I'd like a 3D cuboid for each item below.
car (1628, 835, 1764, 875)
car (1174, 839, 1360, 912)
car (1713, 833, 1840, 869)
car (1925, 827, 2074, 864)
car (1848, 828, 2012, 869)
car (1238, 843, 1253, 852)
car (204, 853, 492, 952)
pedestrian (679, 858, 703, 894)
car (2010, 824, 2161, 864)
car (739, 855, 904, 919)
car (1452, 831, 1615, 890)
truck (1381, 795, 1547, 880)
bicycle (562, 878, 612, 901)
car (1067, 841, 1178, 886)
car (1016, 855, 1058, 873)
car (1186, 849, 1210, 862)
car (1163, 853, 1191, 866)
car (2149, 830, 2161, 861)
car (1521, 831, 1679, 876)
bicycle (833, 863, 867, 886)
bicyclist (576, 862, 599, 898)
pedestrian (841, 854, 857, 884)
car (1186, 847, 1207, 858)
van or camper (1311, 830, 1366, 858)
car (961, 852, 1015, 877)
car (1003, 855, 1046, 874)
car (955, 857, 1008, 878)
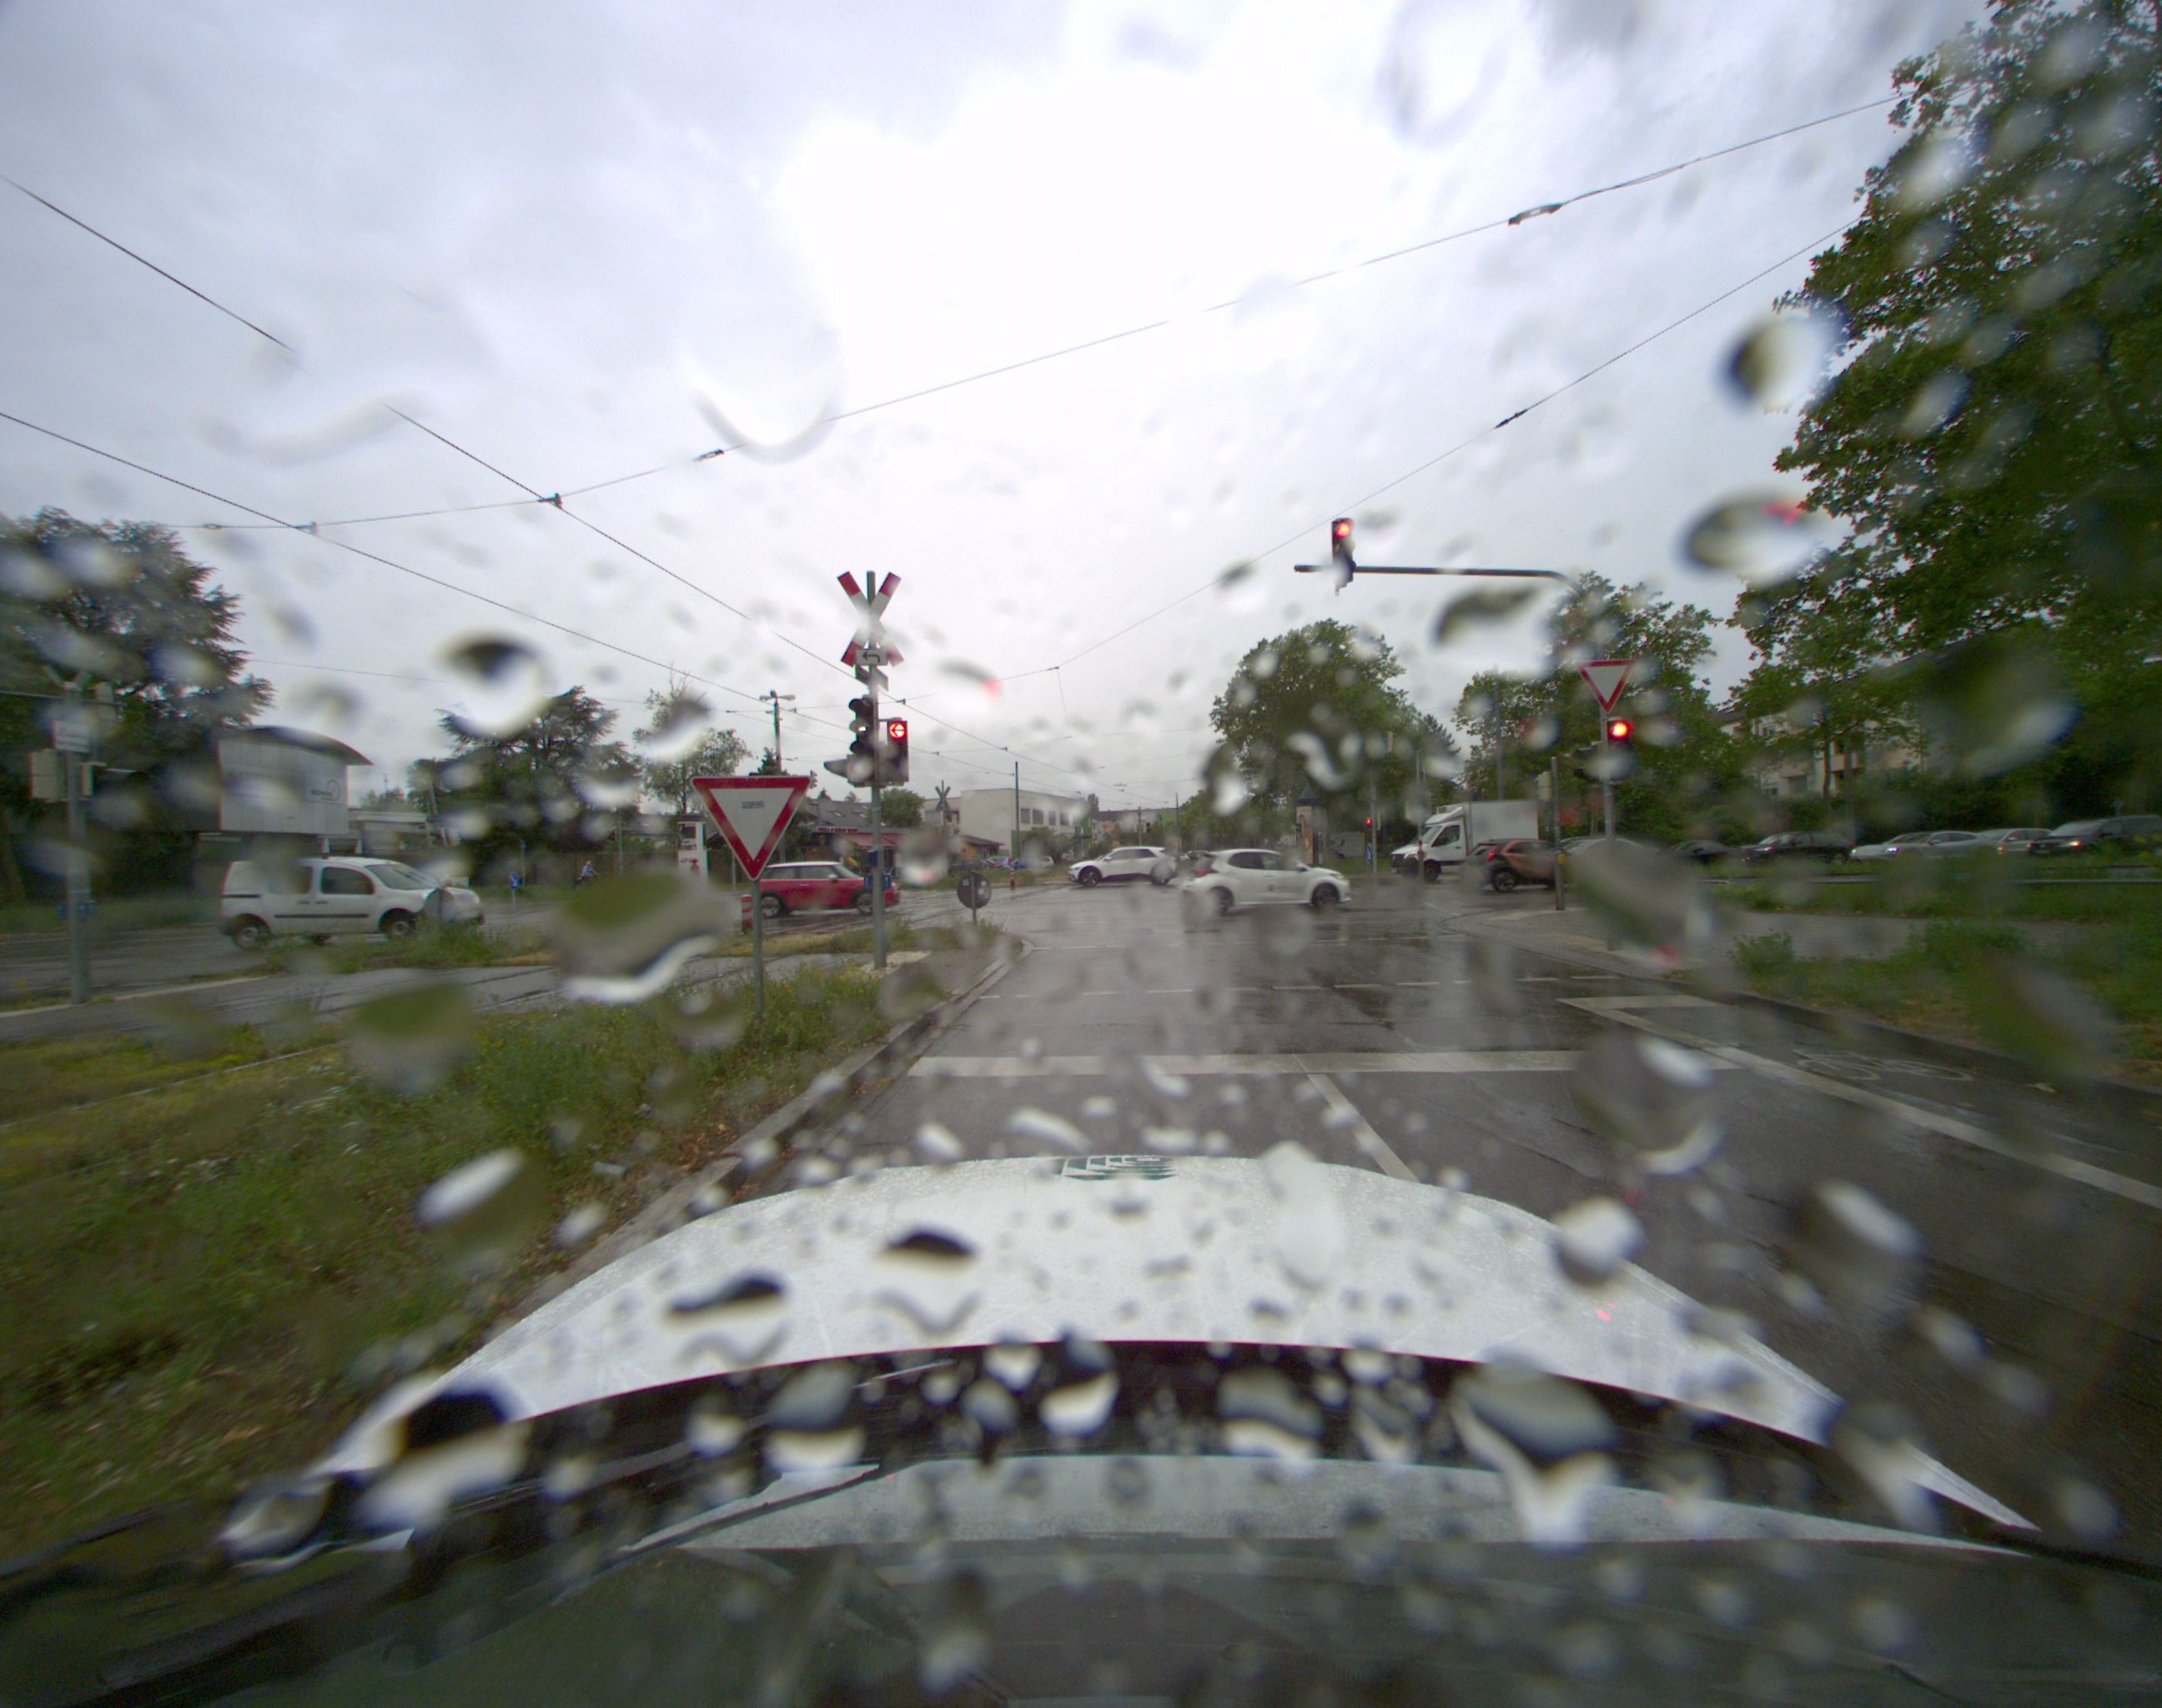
[{"bbox_3d":[24.028,0.029,31.888,4.098,1.390,1.644,-2,-1,-1],"label":"car"},{"bbox_3d":[4.418,0.493,19.666,4.058,1.499,1.649,-2,0,-5],"label":"car"},{"bbox_3d":[30.477,-0.110,35.760,4.109,1.422,1.765,-2,0,-1],"label":"car"},{"bbox_3d":[40.146,-0.365,35.656,4.649,1.422,1.764,-2,0,-2],"label":"car"},{"bbox_3d":[33.395,-0.217,32.107,4.647,1.422,1.765,-2,0,-1],"label":"car"},{"bbox_3d":[43.034,-1.737,213.005,3.416,2.013,1.816,-3,-1,17],"label":"car"},{"bbox_3d":[-15.109,0.948,16.992,4.205,1.796,1.648,-2,1,-7],"label":"car"},{"bbox_3d":[-19.629,1.089,40.960,0.808,1.763,0.898,-2,-1,-44],"label":"pedestrian"},{"bbox_3d":[40.124,-0.389,32.271,4.647,1.422,1.765,-2,0,-1],"label":"car"},{"bbox_3d":[-6.878,0.857,21.934,3.903,1.498,1.648,-2,1,-7],"label":"car"},{"bbox_3d":[13.060,0.190,23.625,3.810,1.499,1.650,-2,0,-4],"label":"car"},{"bbox_3d":[14.744,-0.619,31.594,5.452,3.058,1.980,-2,-1,-1],"label":"truck"},{"bbox_3d":[-23.778,1.712,39.206,1.954,0.967,0.641,-2,-1,-3],"label":"bicycle"},{"bbox_3d":[1.708,0.392,34.388,4.453,1.656,1.649,-2,-1,-5],"label":"car"},{"bbox_3d":[-4.055,0.900,75.085,3.745,1.442,1.759,-2,0,-6],"label":"car"},{"bbox_3d":[20.958,0.269,145.976,4.112,1.975,1.677,-2,-1,7],"label":"car"},{"bbox_3d":[15.142,0.791,128.203,4.126,1.860,1.671,-2,-1,-4],"label":"car"},{"bbox_3d":[51.147,-0.454,36.388,4.649,1.422,1.764,-2,0,-2],"label":"car"},{"bbox_3d":[18.113,-0.005,28.522,4.499,1.390,1.644,-2,-1,-1],"label":"car"},{"bbox_3d":[-11.727,1.034,41.320,1.553,1.101,0.501,-2,0,8],"label":"bicycle"},{"bbox_3d":[-23.757,1.233,39.204,0.682,1.683,0.641,-2,-1,-3],"label":"bicyclist"},{"bbox_3d":[-11.793,0.742,41.327,0.572,1.475,0.501,-2,0,8],"label":"pedestrian"},{"bbox_3d":[24.346,-0.304,171.664,3.957,2.014,1.842,-2,-1,15],"label":"car"},{"bbox_3d":[25.640,-0.983,80.999,5.177,2.697,2.254,0,1,19],"label":"van or camper"},{"bbox_3d":[-7.619,0.896,66.889,4.112,1.860,1.677,-2,-1,7],"label":"car"},{"bbox_3d":[-4.995,0.926,71.810,3.745,1.442,1.759,-2,0,-6],"label":"car"},{"bbox_3d":[-7.749,1.038,63.431,3.733,1.442,1.764,-2,0,4],"label":"car"}]
